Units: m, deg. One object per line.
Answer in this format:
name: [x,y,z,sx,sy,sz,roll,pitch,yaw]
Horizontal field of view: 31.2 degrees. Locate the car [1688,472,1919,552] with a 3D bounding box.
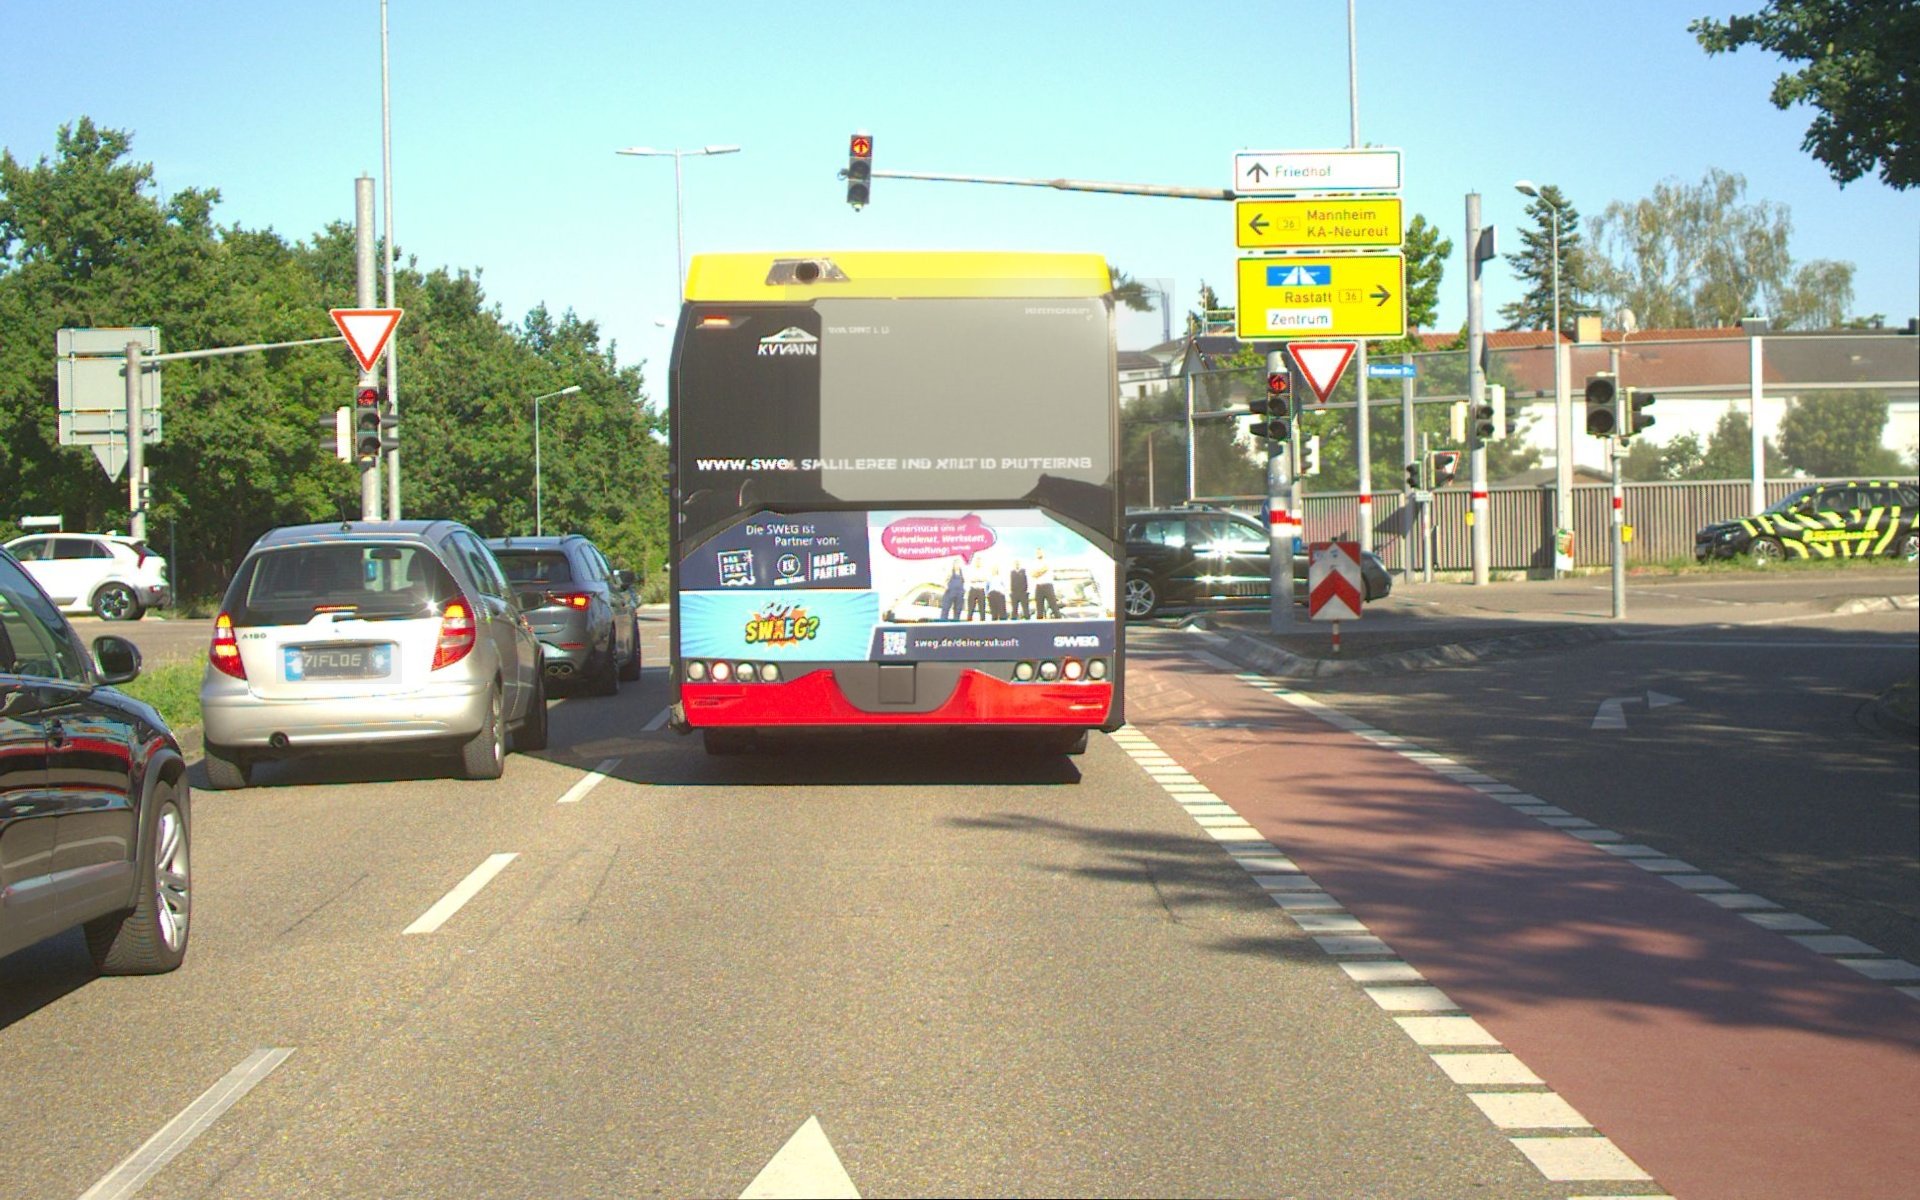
car: [14.472,-1.466,57.653,4.159,1.298,1.575,0,0,-3]

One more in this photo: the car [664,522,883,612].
car: [-3.512,-0.633,64.381,3.986,1.606,1.696,-1,1,-6]

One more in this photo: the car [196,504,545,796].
car: [-3.672,0.234,22.046,1.753,1.614,4.034,-1,2,-4]

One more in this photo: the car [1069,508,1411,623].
car: [3.833,-0.490,47.433,4.461,1.436,1.683,-2,2,-5]

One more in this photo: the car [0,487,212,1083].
car: [-3.628,0.540,10.452,1.821,1.668,4.003,-2,0,-1]

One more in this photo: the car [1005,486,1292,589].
car: [2.878,-0.957,53.123,4.220,1.557,1.764,0,0,-5]

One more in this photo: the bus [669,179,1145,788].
bus: [-0.342,-0.777,24.797,2.596,3.323,11.984,0,1,0]

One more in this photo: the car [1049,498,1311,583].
car: [3.837,-1.039,60.269,4.413,1.454,1.575,0,0,-3]

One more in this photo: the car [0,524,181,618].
car: [-15.726,-0.494,58.166,4.701,1.535,2.000,-1,1,-4]

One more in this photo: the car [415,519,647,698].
car: [-3.789,0.053,30.854,1.588,1.480,3.682,-1,1,0]

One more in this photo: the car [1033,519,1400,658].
car: [2.578,-0.125,34.200,3.523,1.297,1.574,0,2,9]
